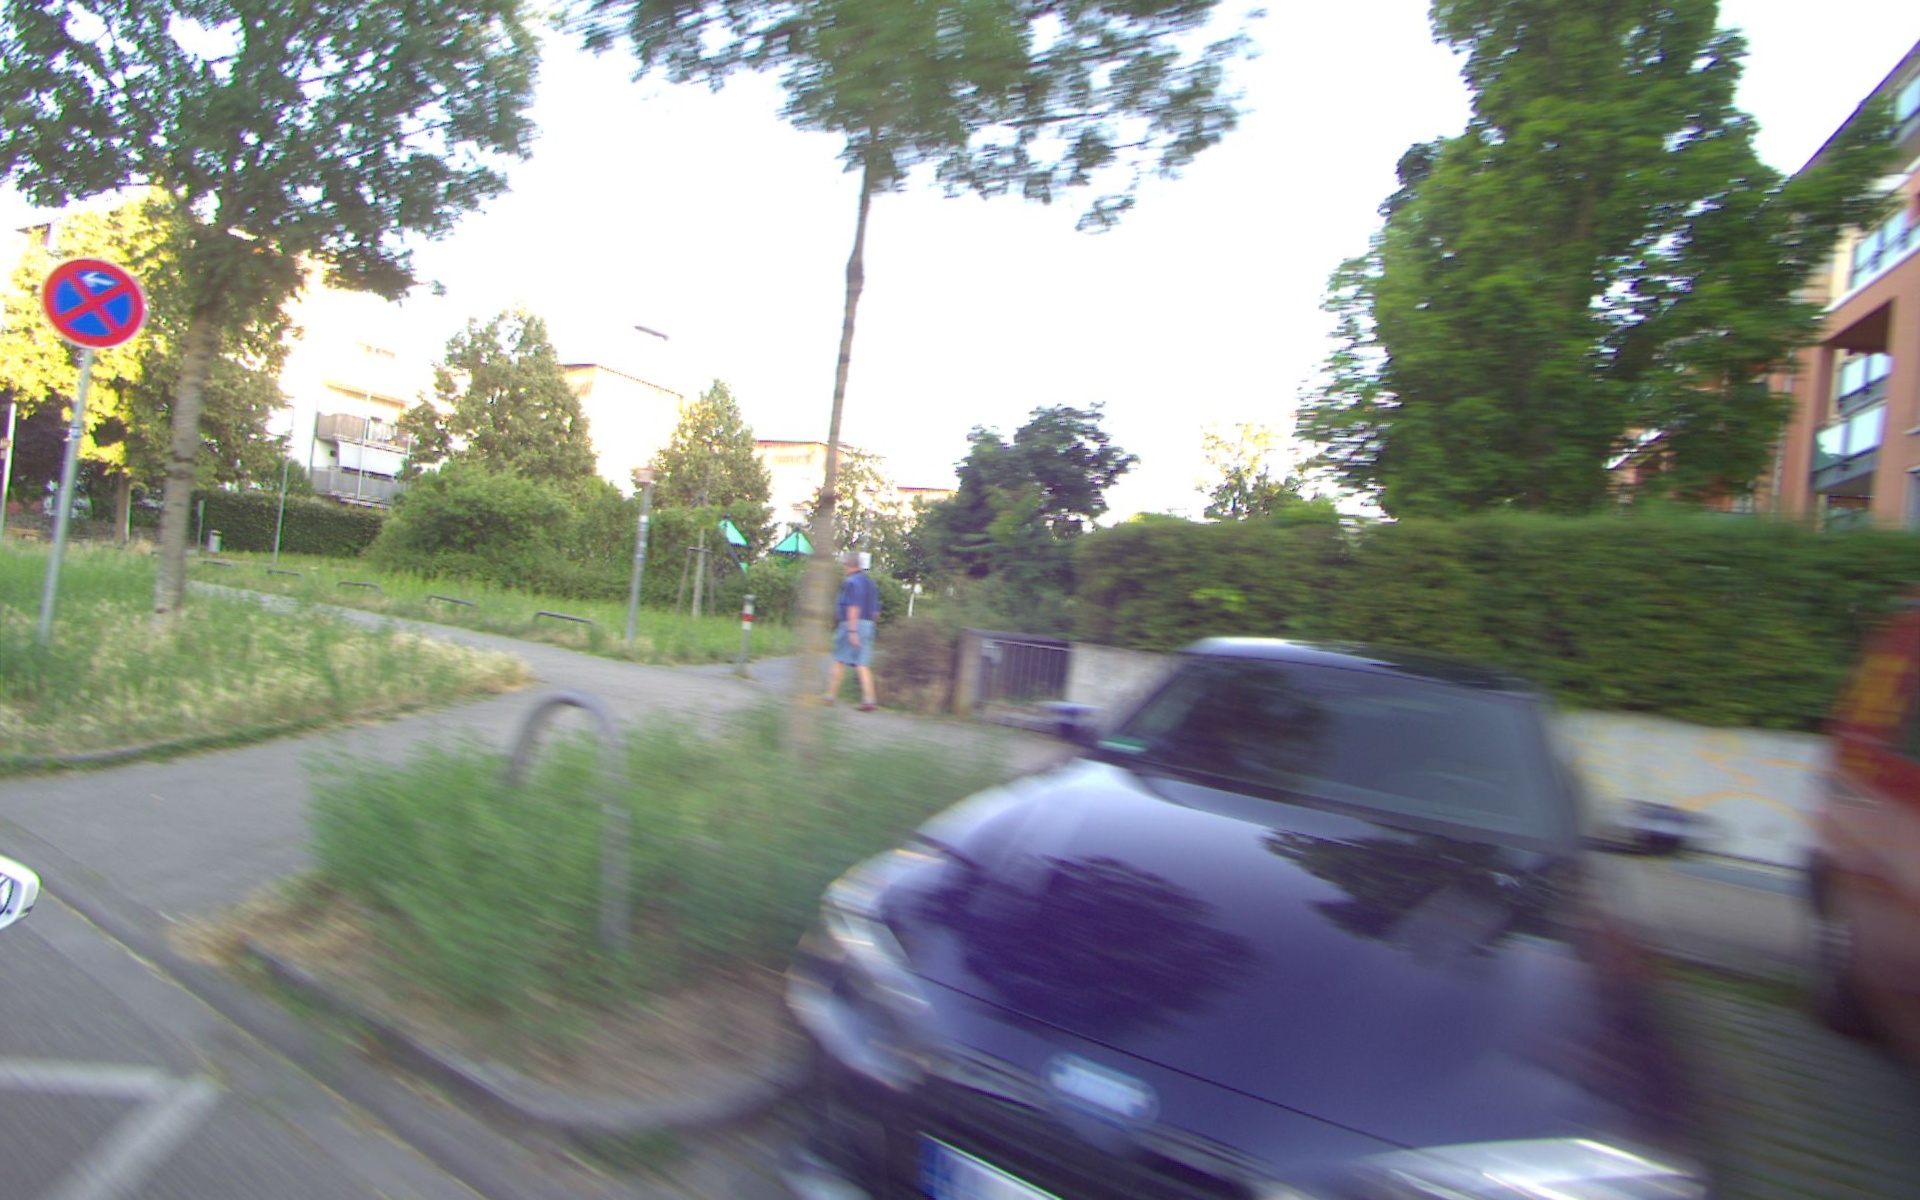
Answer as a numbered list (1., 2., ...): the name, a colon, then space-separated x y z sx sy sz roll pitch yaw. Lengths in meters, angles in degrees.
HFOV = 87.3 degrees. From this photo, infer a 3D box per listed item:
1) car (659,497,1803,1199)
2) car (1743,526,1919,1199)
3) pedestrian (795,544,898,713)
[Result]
1. car: 1.439 0.821 3.617 1.782 1.575 4.672 6 -1 34
2. car: 3.869 0.930 2.824 1.984 2.143 4.925 6 -1 33
3. pedestrian: -1.258 0.320 11.196 0.688 1.765 0.669 6 0 31
